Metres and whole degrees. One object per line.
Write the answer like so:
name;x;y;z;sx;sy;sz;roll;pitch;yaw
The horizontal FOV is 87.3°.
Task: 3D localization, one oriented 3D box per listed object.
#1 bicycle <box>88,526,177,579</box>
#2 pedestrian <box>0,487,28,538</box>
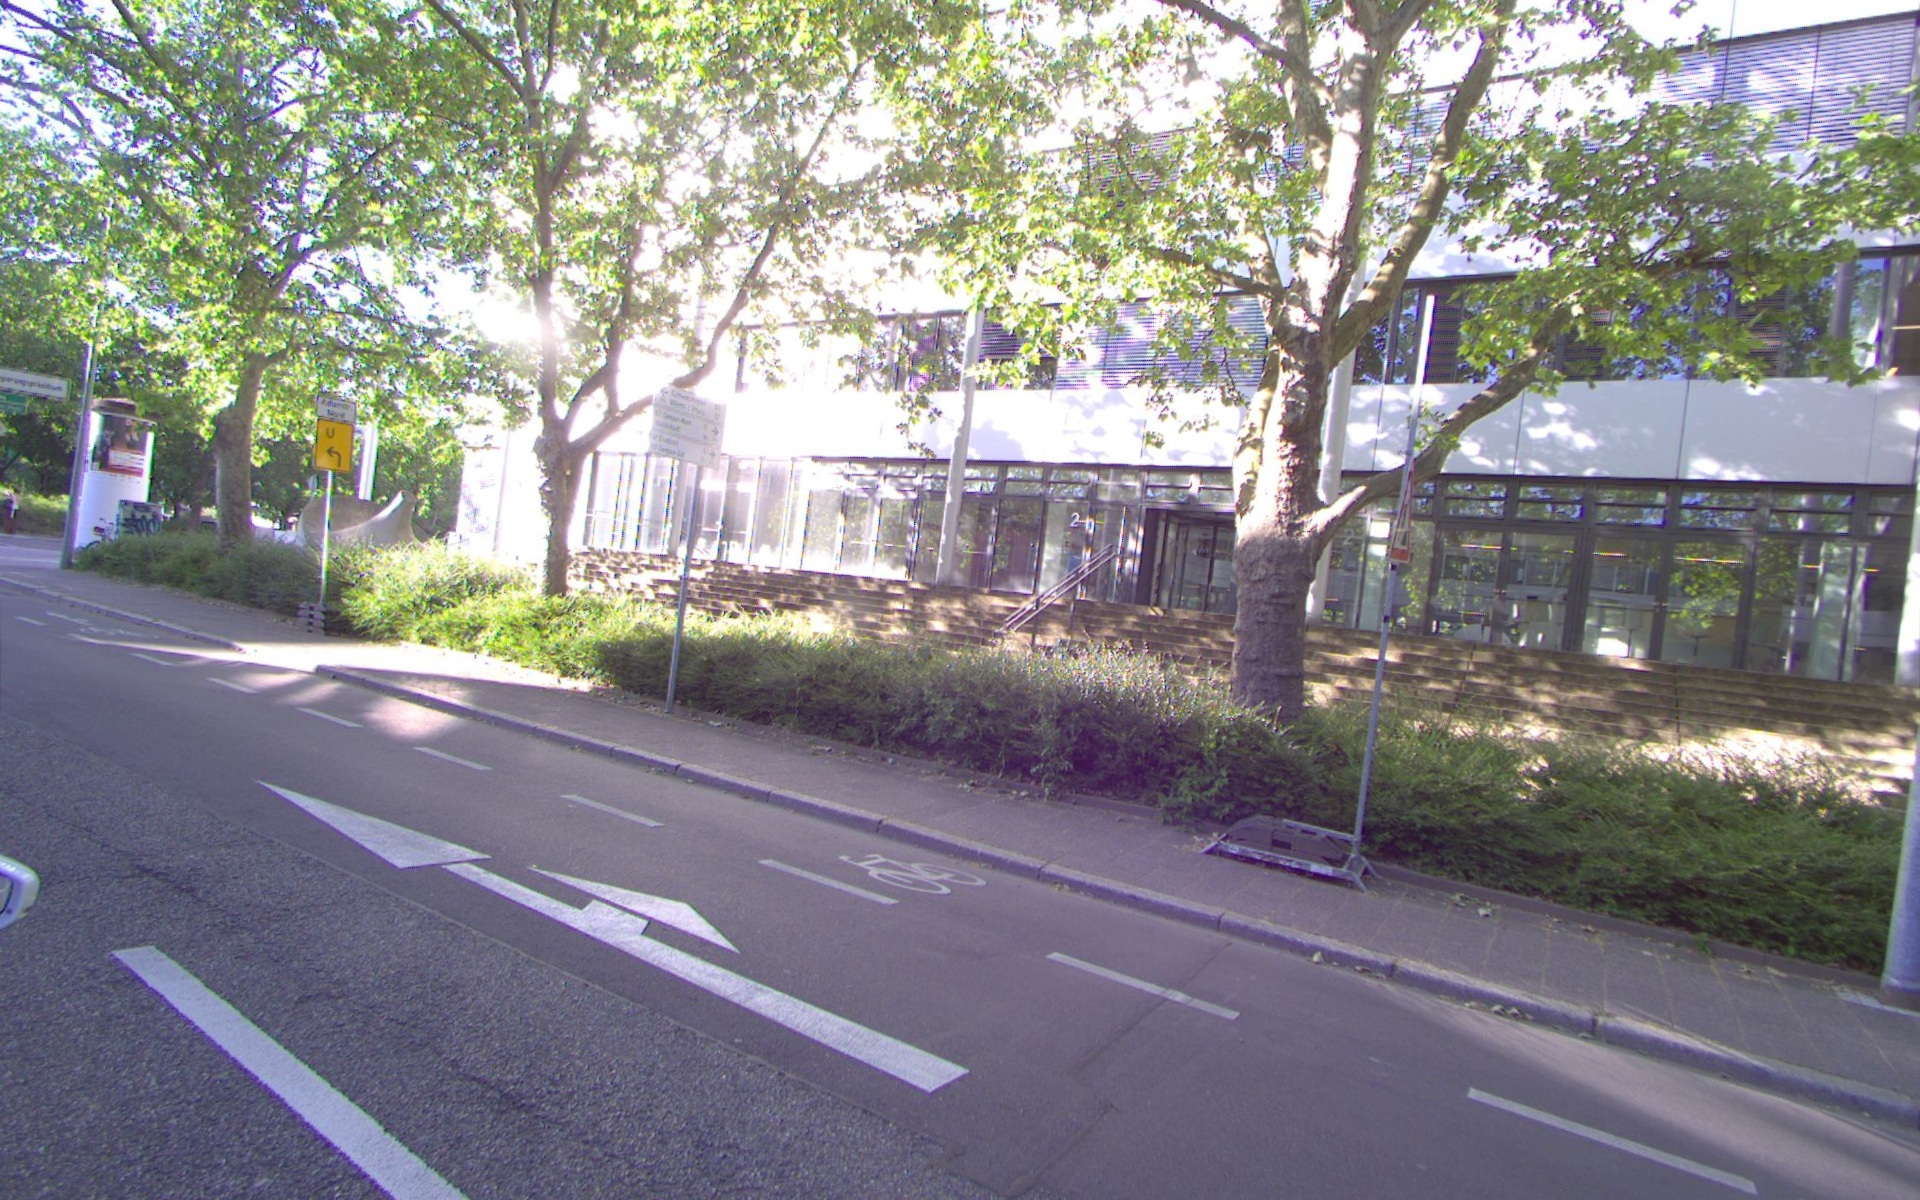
bicycle;-19.048;-1.073;23.182;0.295;0.991;1.484;6;-2;37
pedestrian;-36.241;-3.336;38.389;0.672;1.793;0.613;8;-1;-29
